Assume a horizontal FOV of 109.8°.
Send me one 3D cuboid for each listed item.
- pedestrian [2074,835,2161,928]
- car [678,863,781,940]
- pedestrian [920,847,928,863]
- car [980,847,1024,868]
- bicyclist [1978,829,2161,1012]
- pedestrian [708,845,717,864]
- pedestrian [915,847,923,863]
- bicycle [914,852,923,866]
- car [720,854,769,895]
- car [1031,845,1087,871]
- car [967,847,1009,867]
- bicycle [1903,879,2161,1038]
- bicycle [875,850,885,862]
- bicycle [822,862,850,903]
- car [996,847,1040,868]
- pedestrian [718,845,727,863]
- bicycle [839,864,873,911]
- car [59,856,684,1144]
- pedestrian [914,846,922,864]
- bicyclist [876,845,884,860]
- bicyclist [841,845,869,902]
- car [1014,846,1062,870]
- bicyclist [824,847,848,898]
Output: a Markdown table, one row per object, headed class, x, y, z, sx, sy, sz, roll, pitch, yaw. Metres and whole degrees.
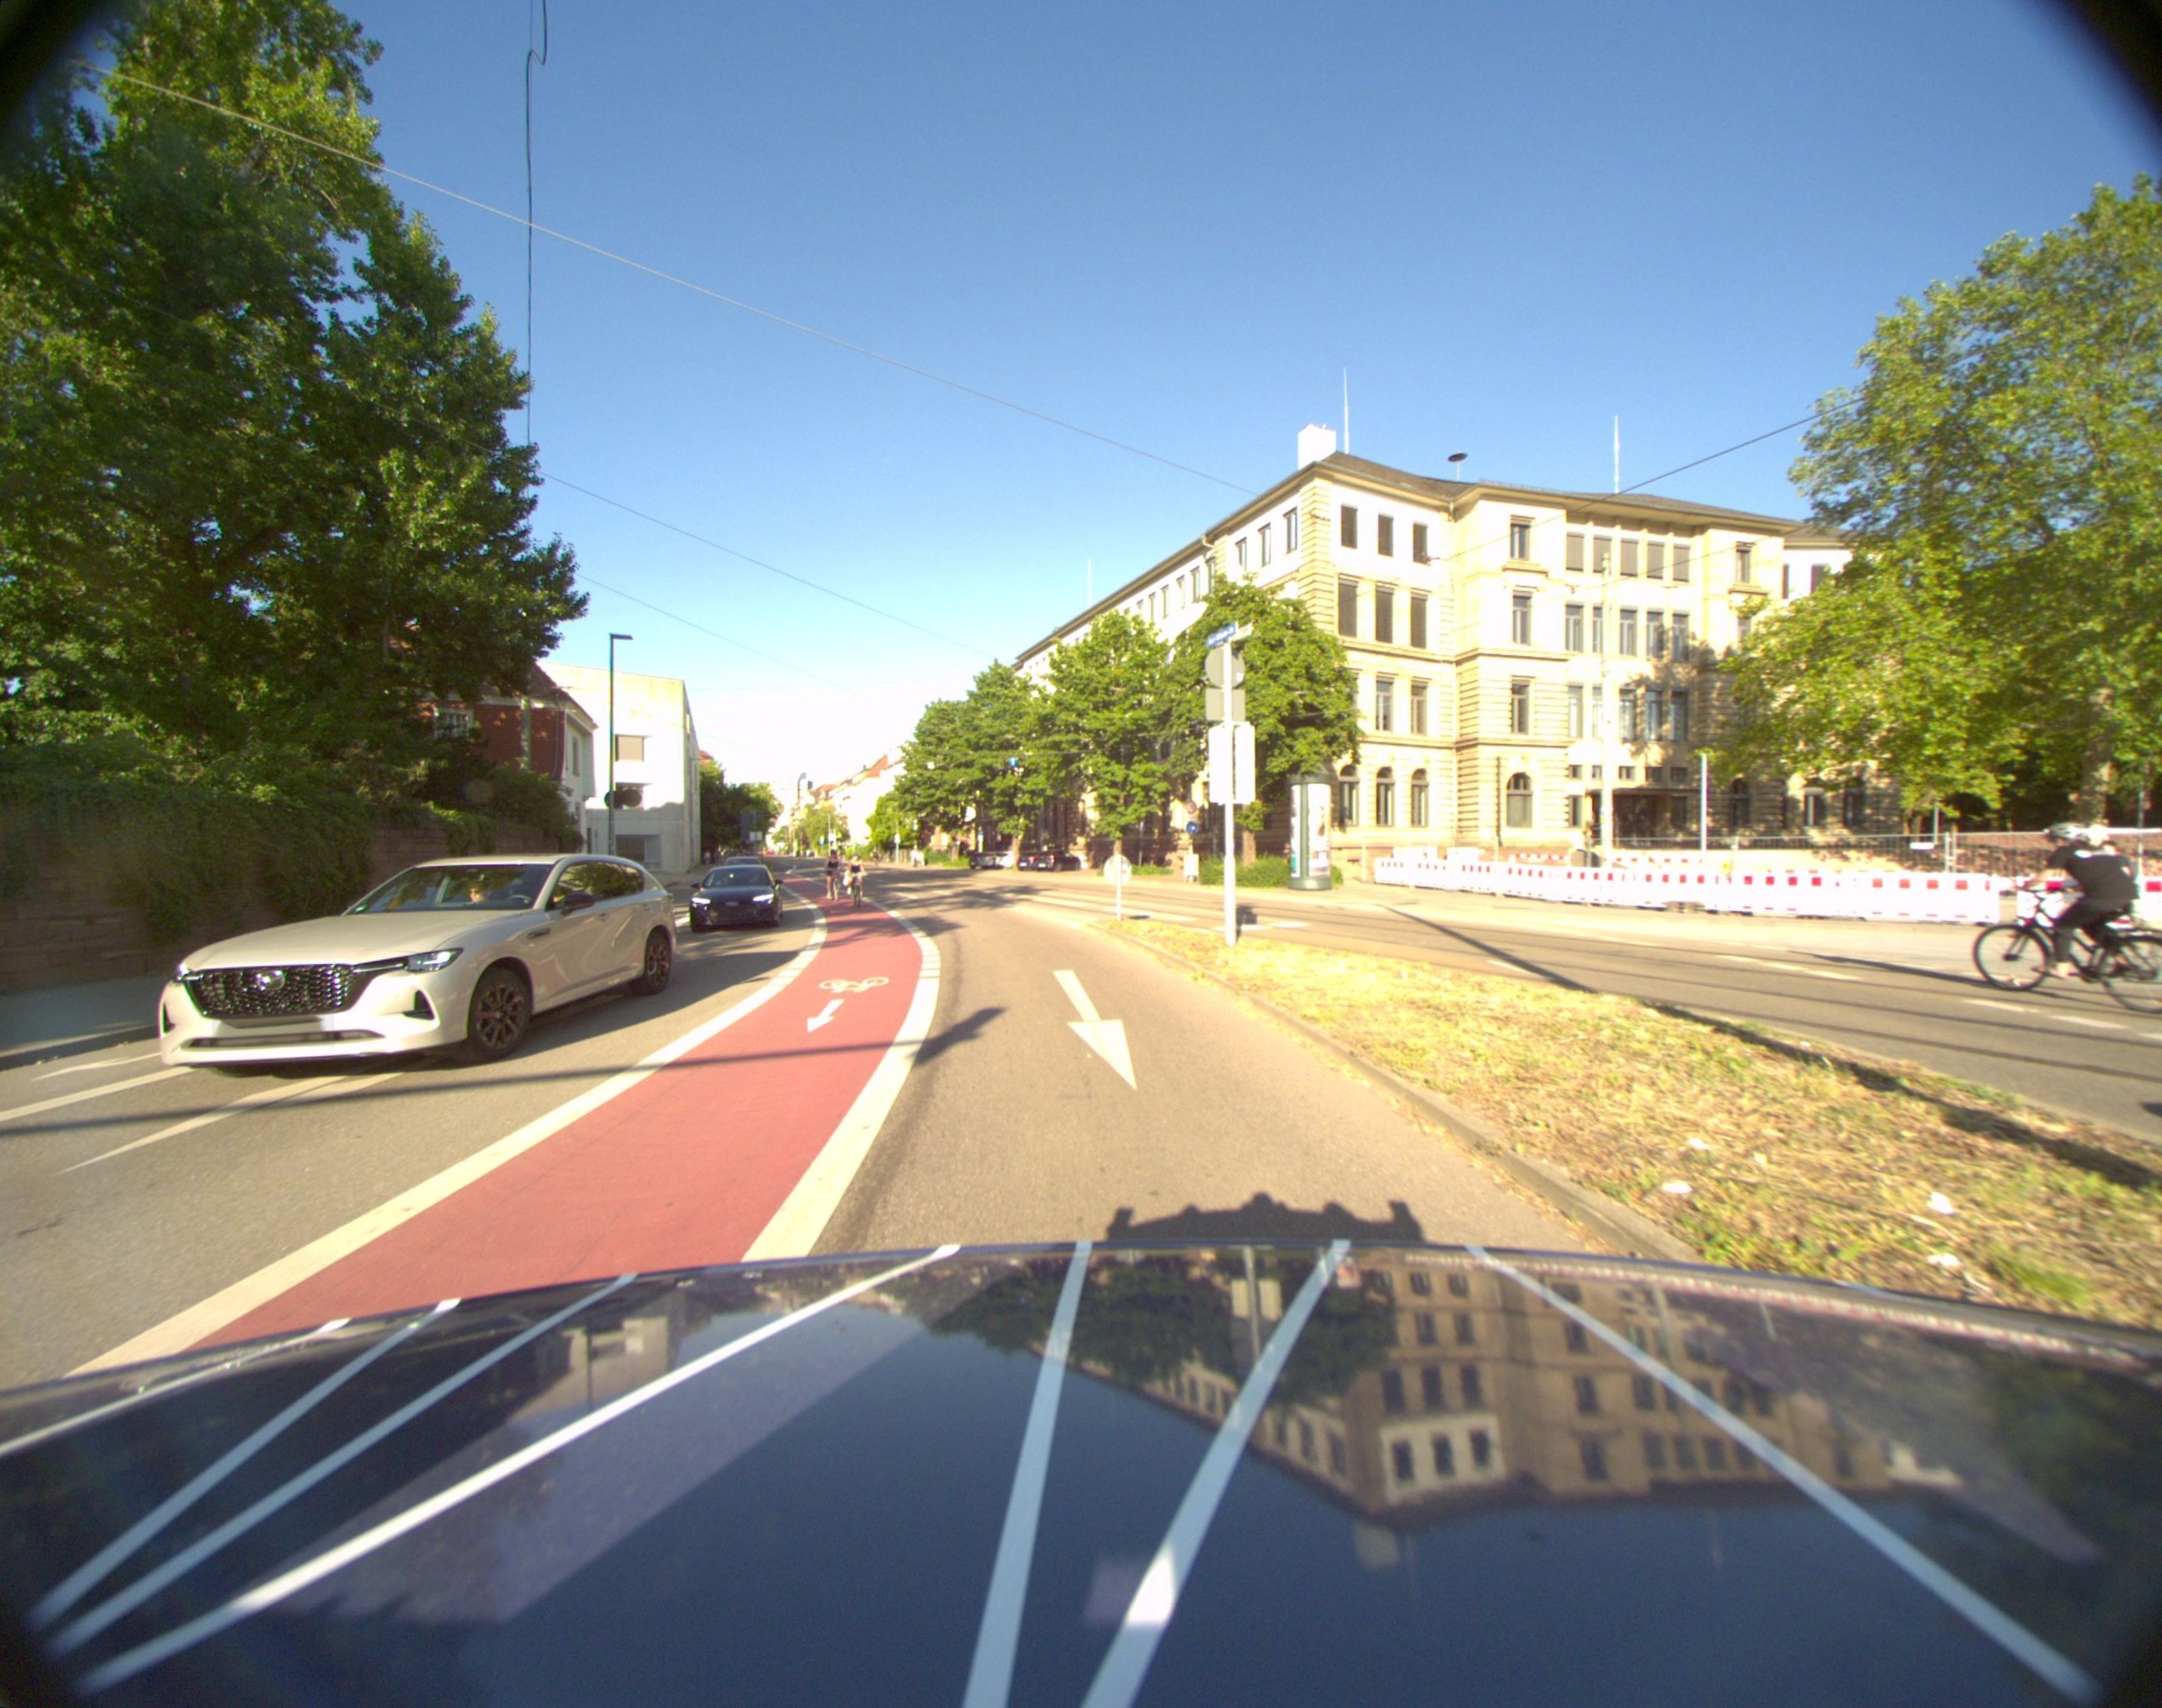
| class | x | y | z | sx | sy | sz | roll | pitch | yaw |
| --- | --- | --- | --- | --- | --- | --- | --- | --- | --- |
| pedestrian | 19.711 | 0.500 | 14.446 | 0.712 | 1.687 | 0.898 | 0 | 3 | -40 |
| car | -8.033 | 1.004 | 17.694 | 1.791 | 1.425 | 3.992 | -3 | 1 | -20 |
| pedestrian | -16.441 | 0.091 | 79.639 | 0.676 | 1.638 | 0.816 | -1 | 1 | -23 |
| car | -6.567 | 0.264 | 63.176 | 1.645 | 1.552 | 3.656 | -1 | 2 | 33 |
| bicyclist | 9.642 | 0.602 | 7.386 | 0.710 | 1.648 | 0.901 | 2 | 1 | 8 |
| pedestrian | -33.083 | 0.028 | 68.173 | 0.676 | 1.638 | 0.816 | -1 | 1 | -23 |
| pedestrian | -16.897 | 0.053 | 79.127 | 0.676 | 1.638 | 0.816 | -1 | 1 | -23 |
| bicycle | -15.208 | 0.437 | 71.044 | 0.676 | 1.243 | 2.453 | -1 | 1 | -14 |
| car | -14.465 | 0.827 | 32.817 | 1.651 | 1.552 | 3.643 | -3 | 1 | -20 |
| car | -1.495 | 0.280 | 53.552 | 1.841 | 1.621 | 4.188 | -1 | 2 | 33 |
| car | -8.083 | 0.235 | 66.301 | 1.645 | 1.552 | 3.656 | -1 | 2 | 33 |
| bicycle | 9.646 | 0.932 | 7.474 | 0.675 | 1.243 | 2.458 | 2 | 1 | 8 |
| bicycle | -21.079 | 0.174 | 79.595 | 0.677 | 1.243 | 2.452 | -1 | 1 | -23 |
| bicycle | -8.159 | 0.924 | 25.263 | 0.677 | 1.243 | 2.452 | -1 | 1 | -23 |
| car | -5.056 | 0.262 | 61.268 | 1.645 | 1.552 | 3.656 | -1 | 2 | 33 |
| pedestrian | -32.232 | 0.001 | 68.328 | 0.676 | 1.638 | 0.816 | -1 | 1 | -23 |
| bicycle | -6.706 | 0.957 | 22.591 | 0.677 | 1.243 | 2.452 | -1 | 1 | -23 |
| car | -5.751 | 0.944 | 7.210 | 1.946 | 1.683 | 4.527 | -2 | 1 | -7 |
| pedestrian | -15.213 | 0.084 | 71.026 | 0.676 | 1.638 | 0.816 | -1 | 1 | -14 |
| bicyclist | -21.096 | -0.149 | 79.631 | 0.676 | 1.638 | 1.027 | -1 | 1 | -23 |
| bicyclist | -6.718 | 0.553 | 22.601 | 0.676 | 1.638 | 1.027 | -1 | 1 | -23 |
| car | -3.101 | 0.264 | 55.879 | 1.645 | 1.552 | 3.656 | -1 | 2 | 33 |
| bicyclist | -8.122 | 0.601 | 25.166 | 0.676 | 1.638 | 1.027 | -1 | 1 | -23 |
